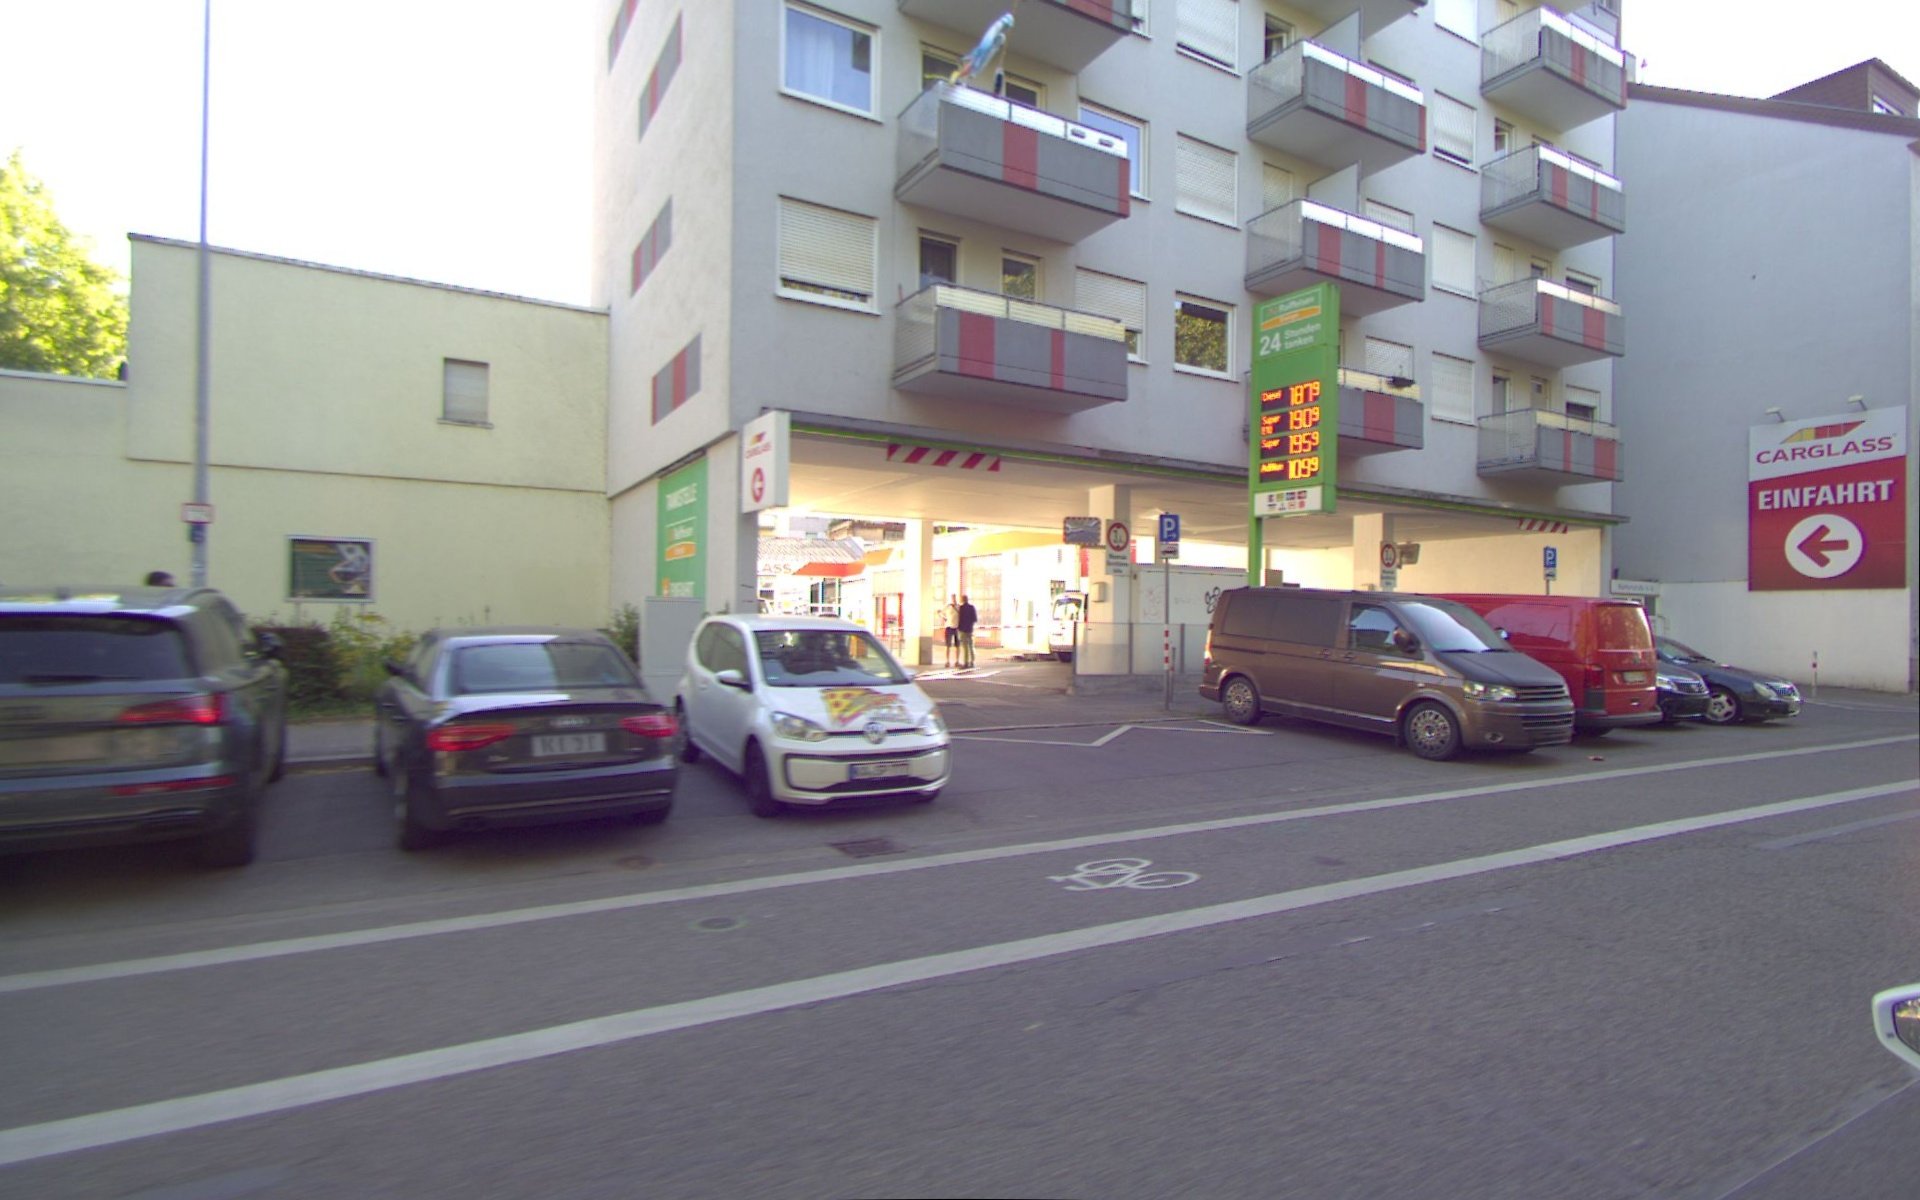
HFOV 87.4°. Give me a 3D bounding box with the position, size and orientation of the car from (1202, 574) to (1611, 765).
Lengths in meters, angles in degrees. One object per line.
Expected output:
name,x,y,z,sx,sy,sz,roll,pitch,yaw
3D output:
car,5.520,0.705,13.084,2.032,1.978,4.501,1,1,-30

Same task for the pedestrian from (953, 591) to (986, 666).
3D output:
pedestrian,0.229,0.663,23.632,0.661,1.724,0.652,1,0,8

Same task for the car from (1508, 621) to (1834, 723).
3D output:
car,12.261,1.163,17.626,2.022,1.398,4.209,2,0,-30

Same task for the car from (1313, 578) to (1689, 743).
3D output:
car,7.739,0.731,14.846,2.121,1.978,4.400,1,1,-30

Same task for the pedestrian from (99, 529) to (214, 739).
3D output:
pedestrian,-7.262,0.301,9.109,0.714,1.813,0.628,1,0,-31

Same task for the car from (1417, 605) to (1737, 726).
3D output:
car,10.114,0.979,16.806,1.864,1.584,4.153,1,1,-30

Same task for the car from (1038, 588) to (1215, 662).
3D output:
car,4.393,0.689,26.249,4.532,1.770,1.712,2,-2,-31

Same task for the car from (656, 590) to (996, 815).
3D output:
car,-1.418,0.737,9.180,1.809,1.533,3.667,1,1,-30

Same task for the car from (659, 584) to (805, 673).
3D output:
car,-5.213,0.587,22.546,1.976,1.773,4.501,1,0,-30

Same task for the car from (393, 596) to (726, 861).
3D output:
car,-3.366,0.746,7.928,1.894,1.475,3.968,1,0,-30

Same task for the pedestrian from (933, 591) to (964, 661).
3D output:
pedestrian,-0.266,0.618,24.409,0.622,1.671,0.539,1,0,13

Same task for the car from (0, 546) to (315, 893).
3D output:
car,-5.686,0.565,6.777,2.004,1.706,4.174,1,0,-30
